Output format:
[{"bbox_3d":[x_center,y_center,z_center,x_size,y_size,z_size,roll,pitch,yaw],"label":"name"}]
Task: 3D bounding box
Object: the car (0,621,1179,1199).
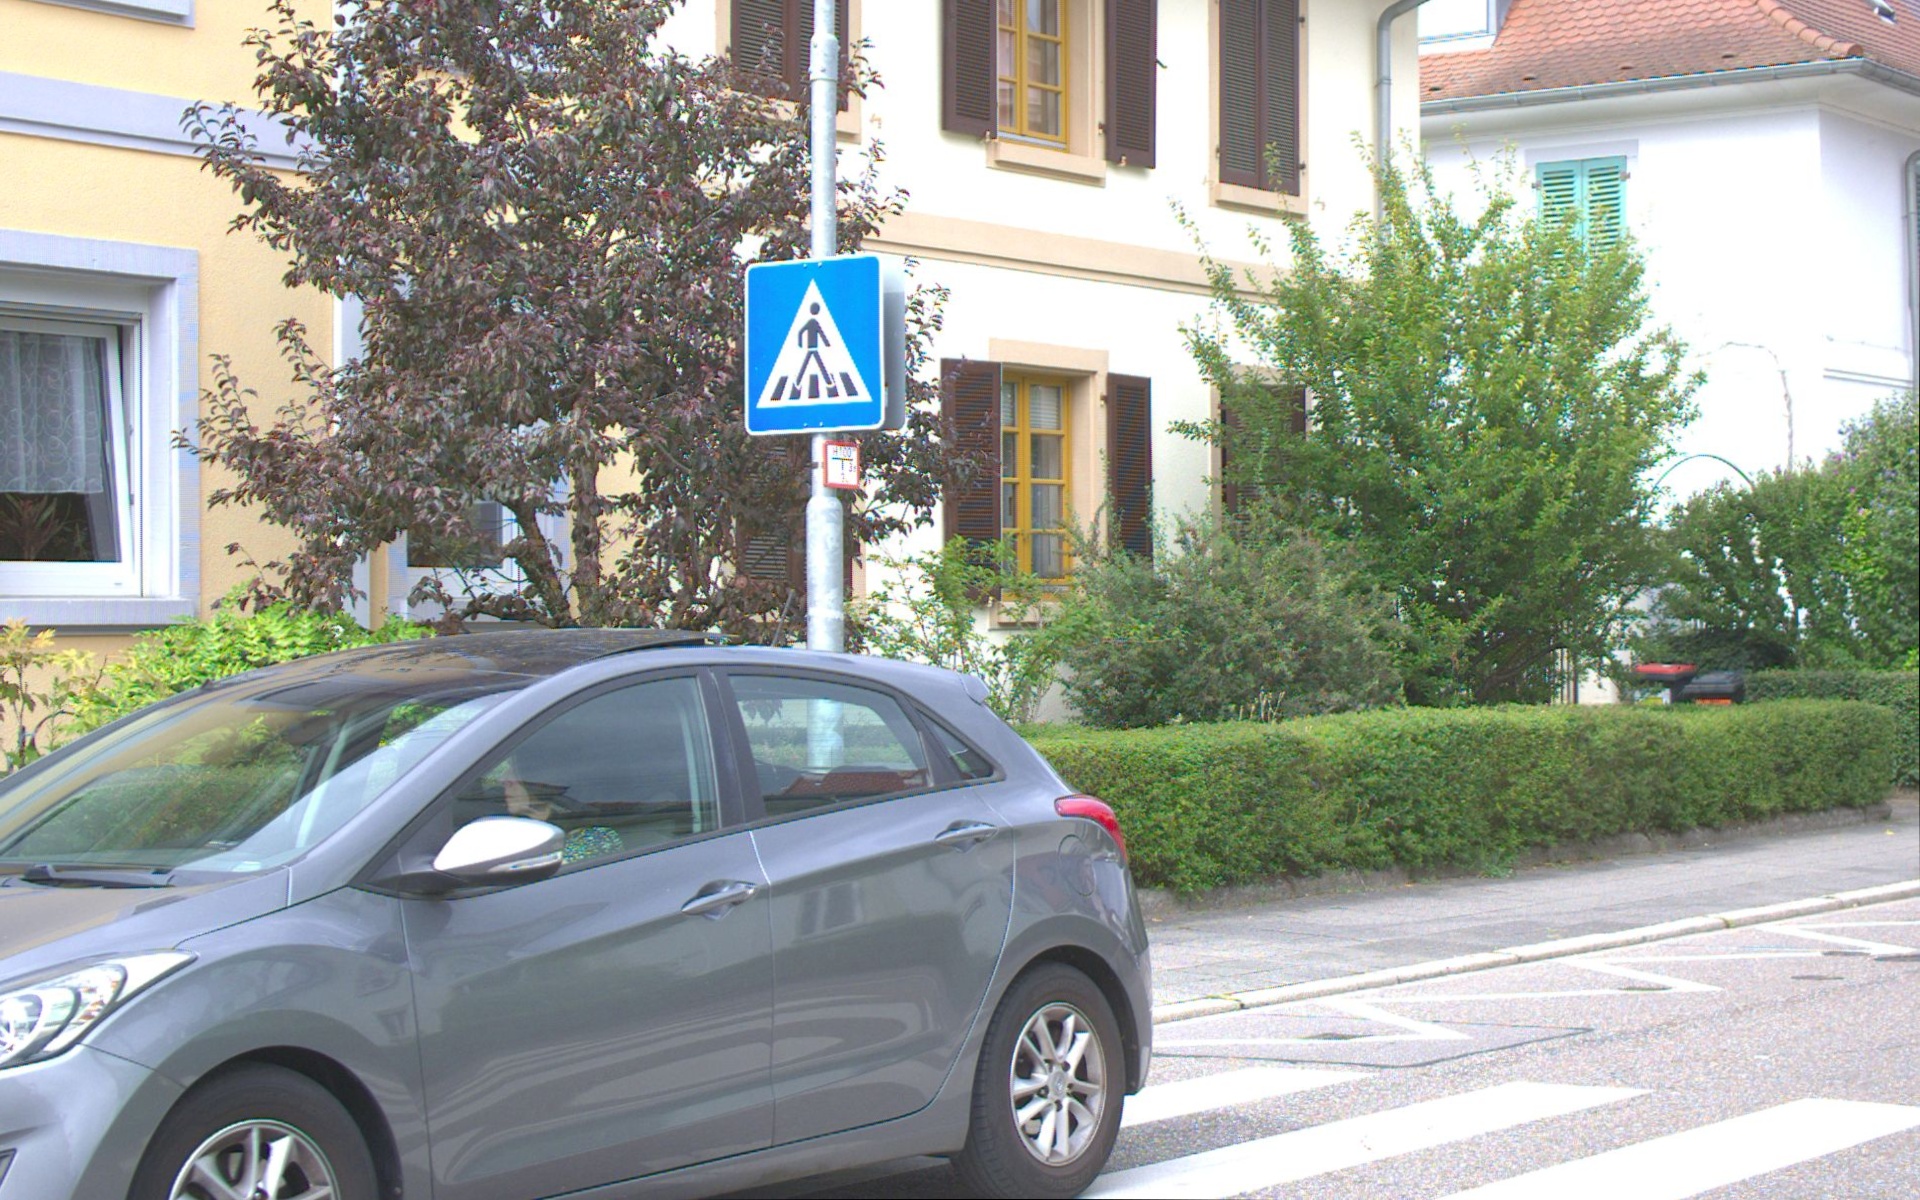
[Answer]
[{"bbox_3d":[-1.371,0.802,8.086,1.852,1.476,4.033,-1,0,37],"label":"car"}]
